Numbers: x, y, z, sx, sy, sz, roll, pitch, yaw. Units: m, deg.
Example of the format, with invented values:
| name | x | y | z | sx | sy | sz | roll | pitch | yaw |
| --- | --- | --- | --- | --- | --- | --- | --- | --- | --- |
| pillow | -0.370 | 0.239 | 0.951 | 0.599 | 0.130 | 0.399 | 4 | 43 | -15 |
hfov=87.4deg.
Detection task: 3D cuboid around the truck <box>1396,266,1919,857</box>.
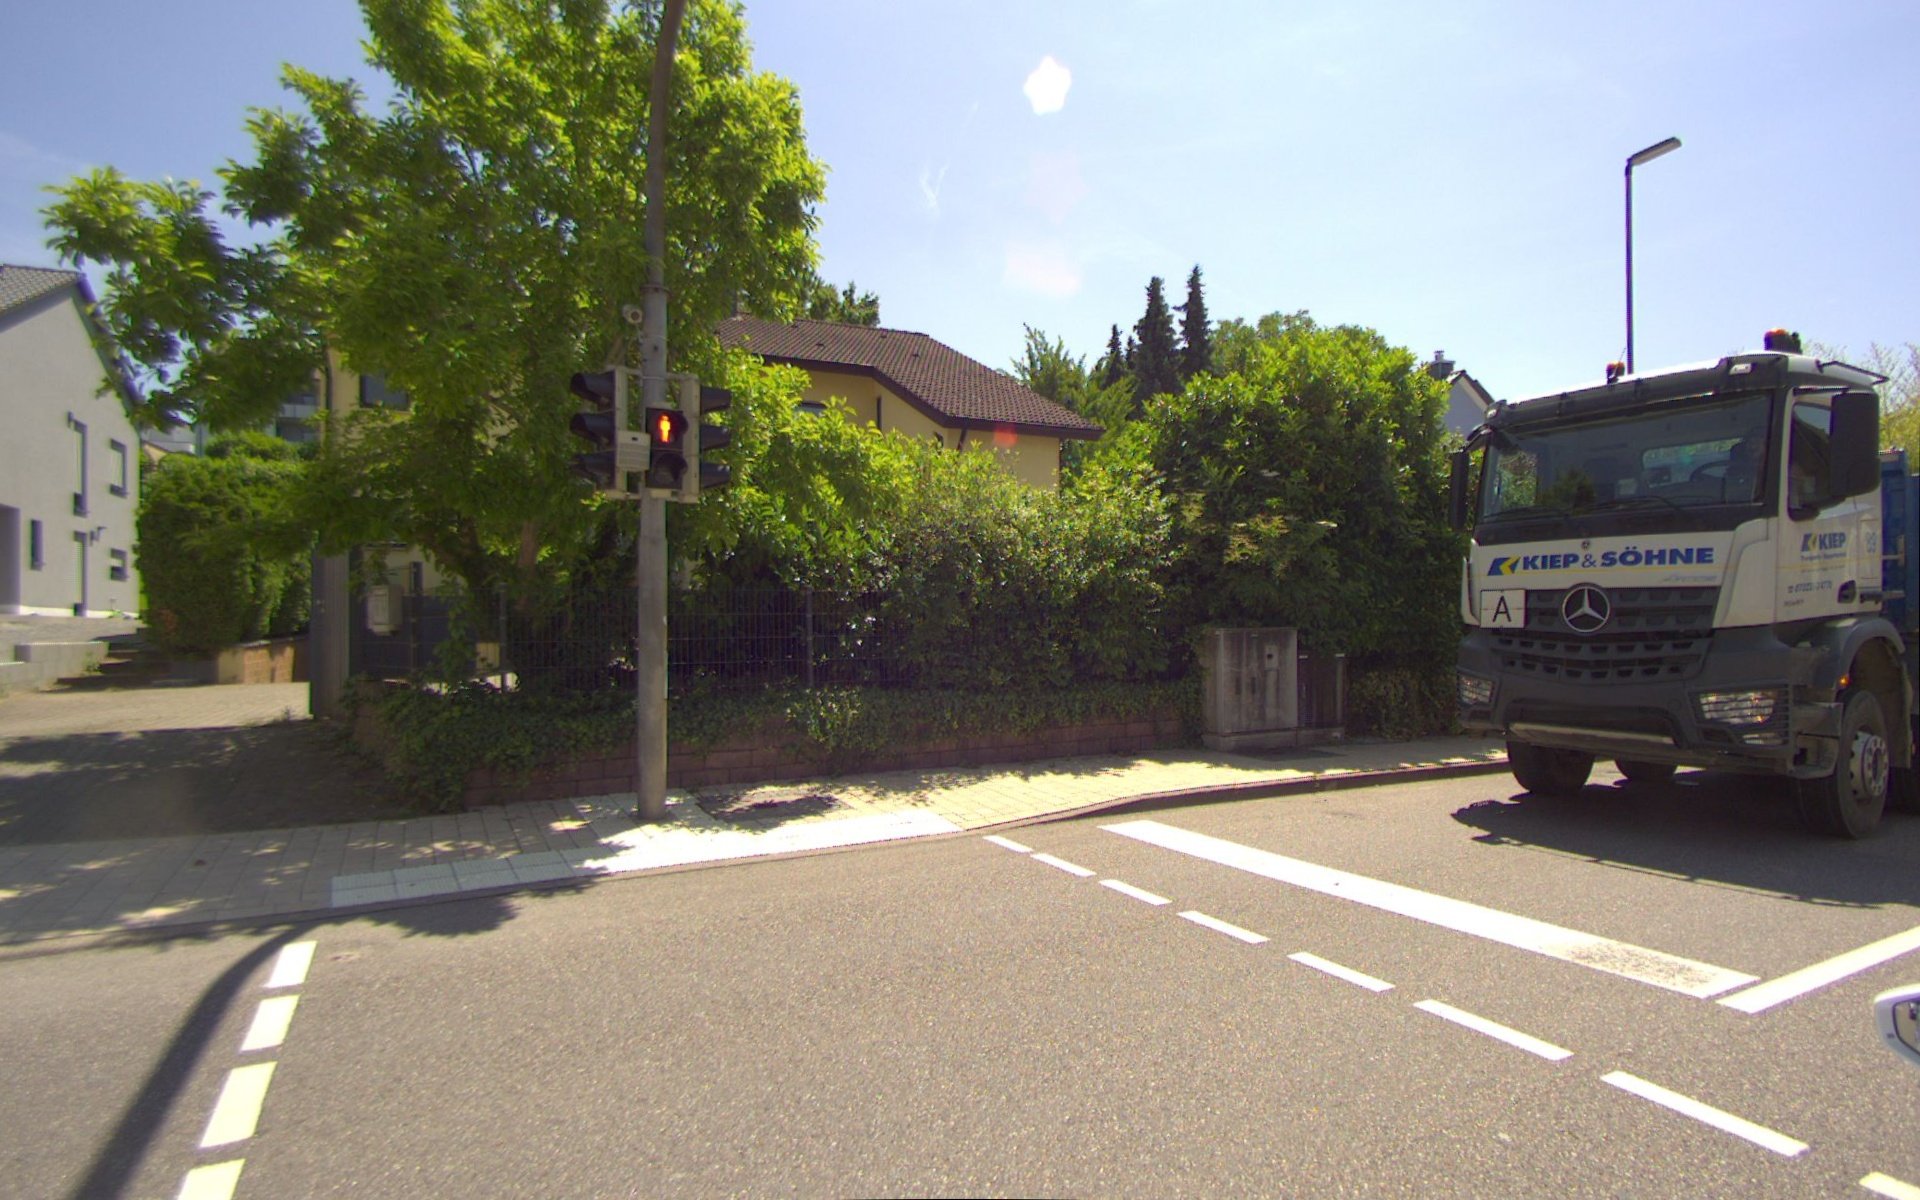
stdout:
| name | x | y | z | sx | sy | sz | roll | pitch | yaw |
| --- | --- | --- | --- | --- | --- | --- | --- | --- | --- |
| truck | 8.137 | -0.159 | 9.538 | 8.511 | 3.787 | 2.532 | 1 | -2 | -28 |
